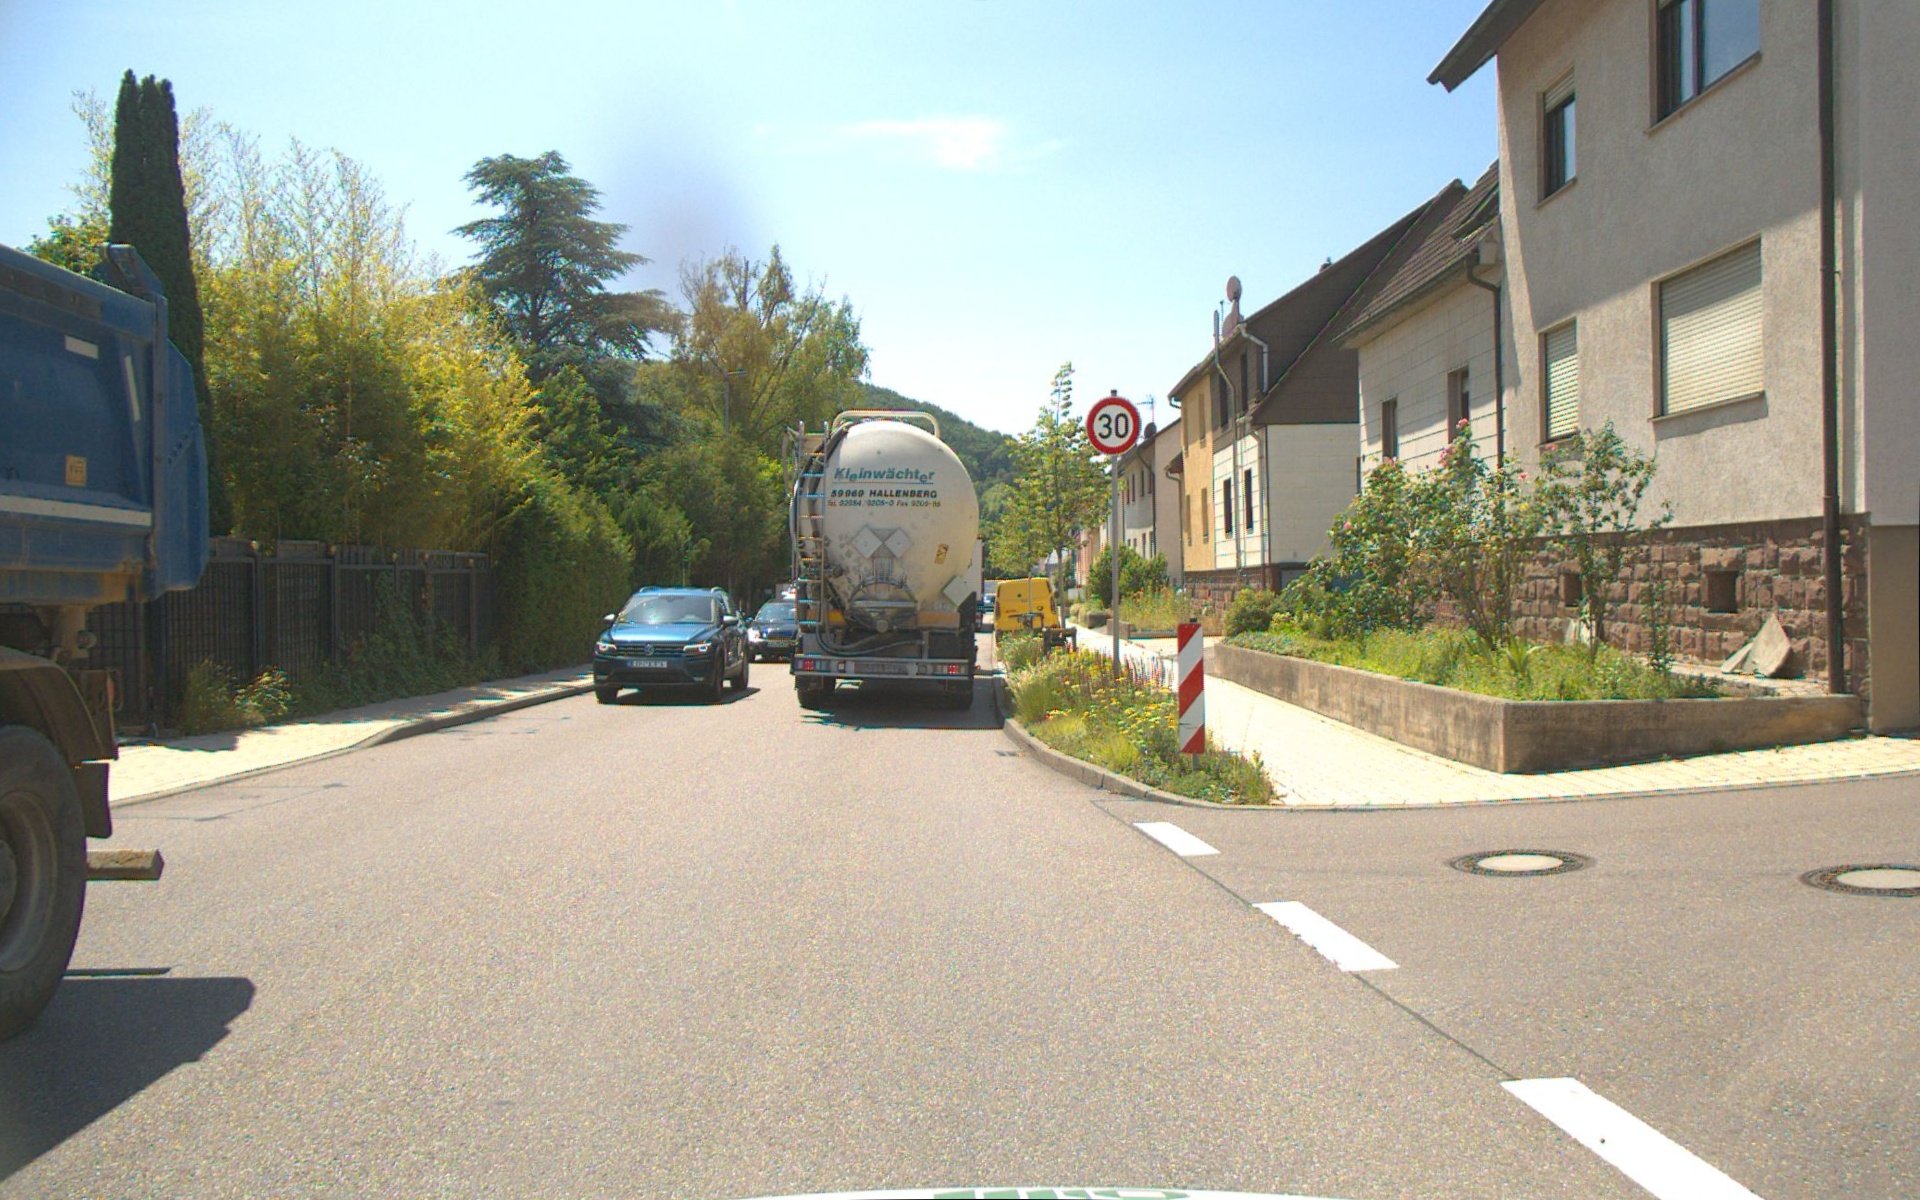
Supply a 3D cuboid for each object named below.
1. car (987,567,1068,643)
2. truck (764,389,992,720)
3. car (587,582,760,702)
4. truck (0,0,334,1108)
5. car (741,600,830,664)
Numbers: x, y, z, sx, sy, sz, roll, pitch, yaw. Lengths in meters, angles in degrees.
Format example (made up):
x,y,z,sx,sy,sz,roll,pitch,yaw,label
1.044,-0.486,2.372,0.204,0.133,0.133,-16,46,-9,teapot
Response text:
x,y,z,sx,sy,sz,roll,pitch,yaw,label
2.042,0.176,51.707,2.145,2.048,5.622,-5,-1,0,car
-0.920,-0.614,26.113,2.693,4.127,10.892,0,0,2,truck
-4.324,0.613,25.681,1.849,1.674,4.613,1,-1,0,car
-4.167,-0.381,2.833,2.489,3.803,8.624,-1,0,3,truck
-4.091,0.739,39.333,1.731,1.427,4.246,1,-1,-1,car
